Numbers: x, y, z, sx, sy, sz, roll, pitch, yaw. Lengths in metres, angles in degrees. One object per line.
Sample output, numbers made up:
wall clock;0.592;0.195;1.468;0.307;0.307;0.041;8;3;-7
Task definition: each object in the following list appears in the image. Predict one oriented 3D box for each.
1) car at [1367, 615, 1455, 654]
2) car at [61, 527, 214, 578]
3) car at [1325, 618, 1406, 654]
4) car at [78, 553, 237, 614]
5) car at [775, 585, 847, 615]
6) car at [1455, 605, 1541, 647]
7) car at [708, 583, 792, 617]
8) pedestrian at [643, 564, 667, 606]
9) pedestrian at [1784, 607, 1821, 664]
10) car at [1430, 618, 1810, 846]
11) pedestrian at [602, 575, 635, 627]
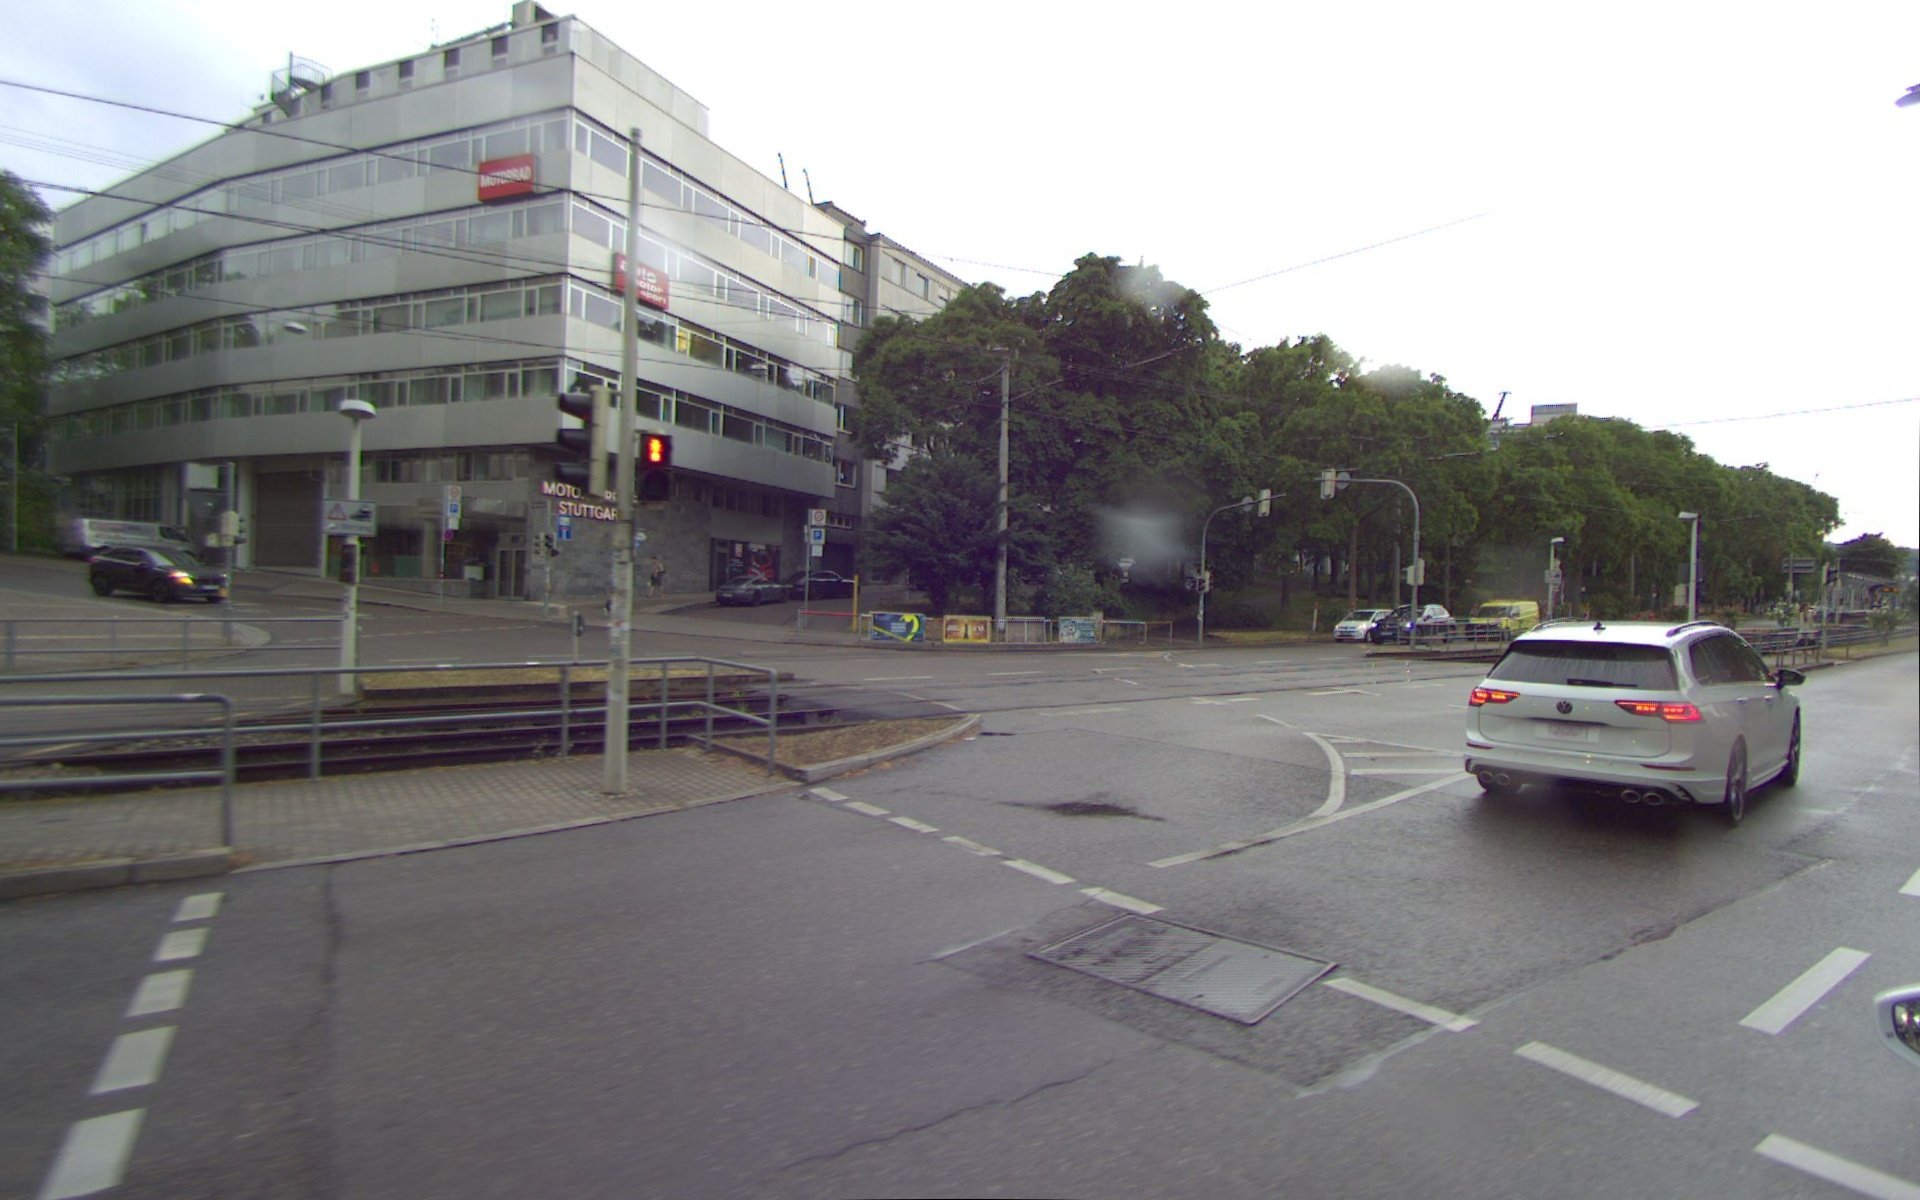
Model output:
car;18.973;1.447;42.244;3.648;1.566;1.905;2;-1;-38
car;-39.677;-2.245;48.637;1.965;2.040;5.403;-1;-2;30
car;18.569;1.634;45.965;3.648;1.566;1.905;2;-1;-38
car;-26.336;-0.555;32.970;4.793;1.601;1.999;5;2;23
car;-7.547;0.012;51.302;1.842;1.450;3.998;1;0;22
car;25.407;1.216;47.383;4.526;1.875;1.905;2;-1;-38
car;-9.615;0.012;46.317;1.842;1.450;4.092;1;0;22
pedestrian;-13.802;-0.697;45.457;0.707;1.886;0.759;2;3;28
pedestrian;27.898;1.159;33.255;0.860;1.826;0.863;1;1;42
car;5.837;0.940;8.641;4.445;1.461;1.779;3;-3;-44
pedestrian;-12.729;0.039;37.436;0.833;1.886;0.719;2;1;25
